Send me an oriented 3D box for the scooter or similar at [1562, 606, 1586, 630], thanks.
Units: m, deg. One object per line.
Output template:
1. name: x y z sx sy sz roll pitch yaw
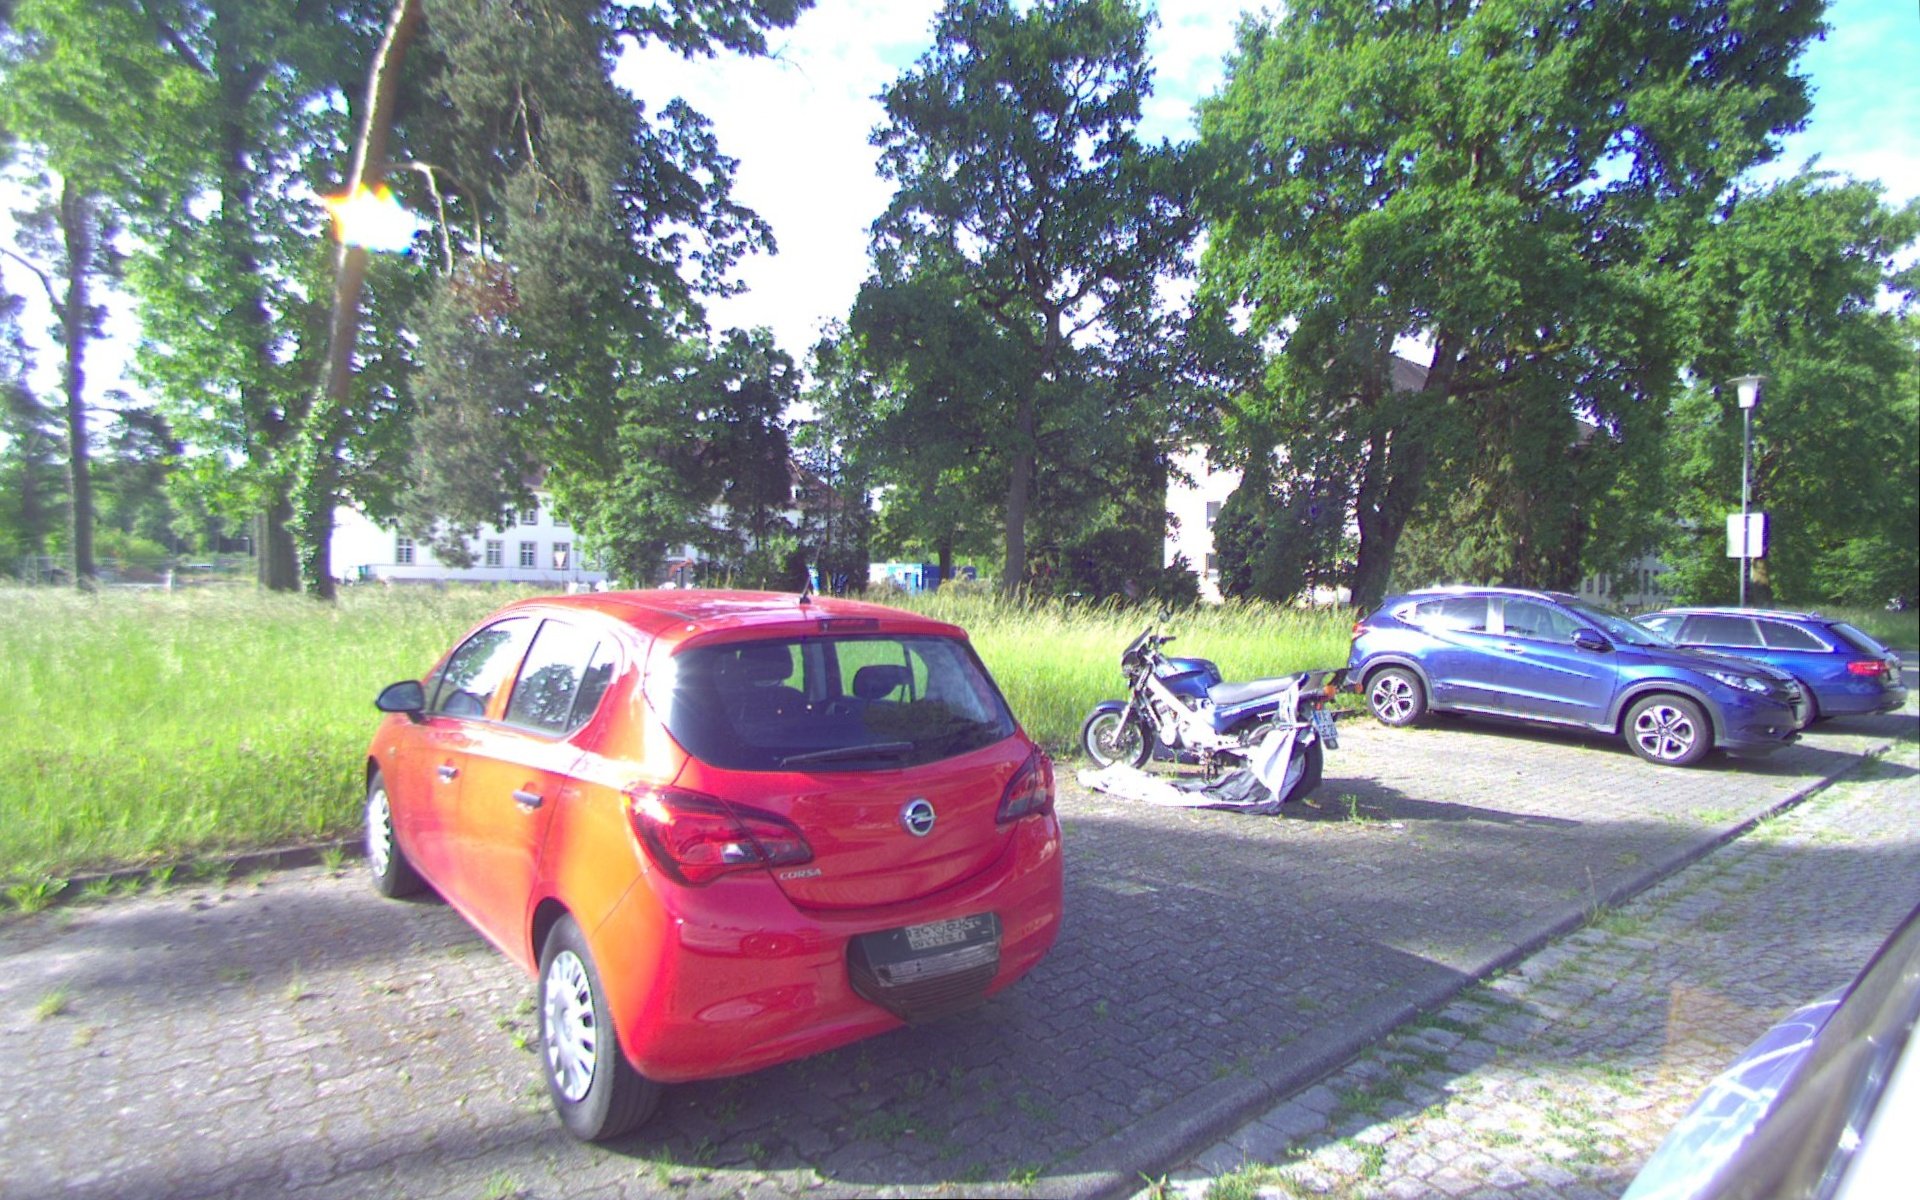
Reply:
1. scooter or similar: 24.244 0.707 39.953 0.767 0.941 0.257 2 1 44

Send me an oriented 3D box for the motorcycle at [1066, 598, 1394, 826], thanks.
1. motorcycle: 1.874 0.700 7.425 0.713 1.336 2.305 1 2 -40

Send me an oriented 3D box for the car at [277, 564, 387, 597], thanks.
1. car: -42.318 -1.313 68.348 5.888 2.198 2.381 0 1 -18

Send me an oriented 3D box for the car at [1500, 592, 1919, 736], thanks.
1. car: 10.012 0.706 13.670 1.682 1.425 4.464 1 3 -37

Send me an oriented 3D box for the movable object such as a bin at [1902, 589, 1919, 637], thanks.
1. movable object such as a bin: 37.223 0.539 36.057 1.959 1.781 4.950 1 1 -25

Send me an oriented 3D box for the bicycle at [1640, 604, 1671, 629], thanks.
1. bicycle: 28.987 0.681 42.182 0.700 1.029 1.023 1 1 12

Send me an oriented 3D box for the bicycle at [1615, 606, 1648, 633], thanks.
1. bicycle: 26.101 0.749 39.319 1.007 1.029 0.711 1 1 -33

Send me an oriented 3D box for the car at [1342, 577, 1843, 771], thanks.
1. car: 6.453 0.593 10.738 1.720 1.611 4.185 0 1 -40

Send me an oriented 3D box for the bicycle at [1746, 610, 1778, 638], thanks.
1. bicycle: 28.520 0.839 35.986 1.121 0.946 0.746 0 1 -43

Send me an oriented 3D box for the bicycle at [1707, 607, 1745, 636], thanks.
1. bicycle: 27.608 0.771 36.465 1.231 1.029 0.711 1 1 -33

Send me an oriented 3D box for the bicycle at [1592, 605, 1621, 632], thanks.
1. bicycle: 25.337 0.733 39.667 1.008 1.029 0.619 1 1 -38

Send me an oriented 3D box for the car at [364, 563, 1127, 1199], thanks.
1. car: -1.292 0.636 4.400 1.616 1.497 3.836 0 2 -40
